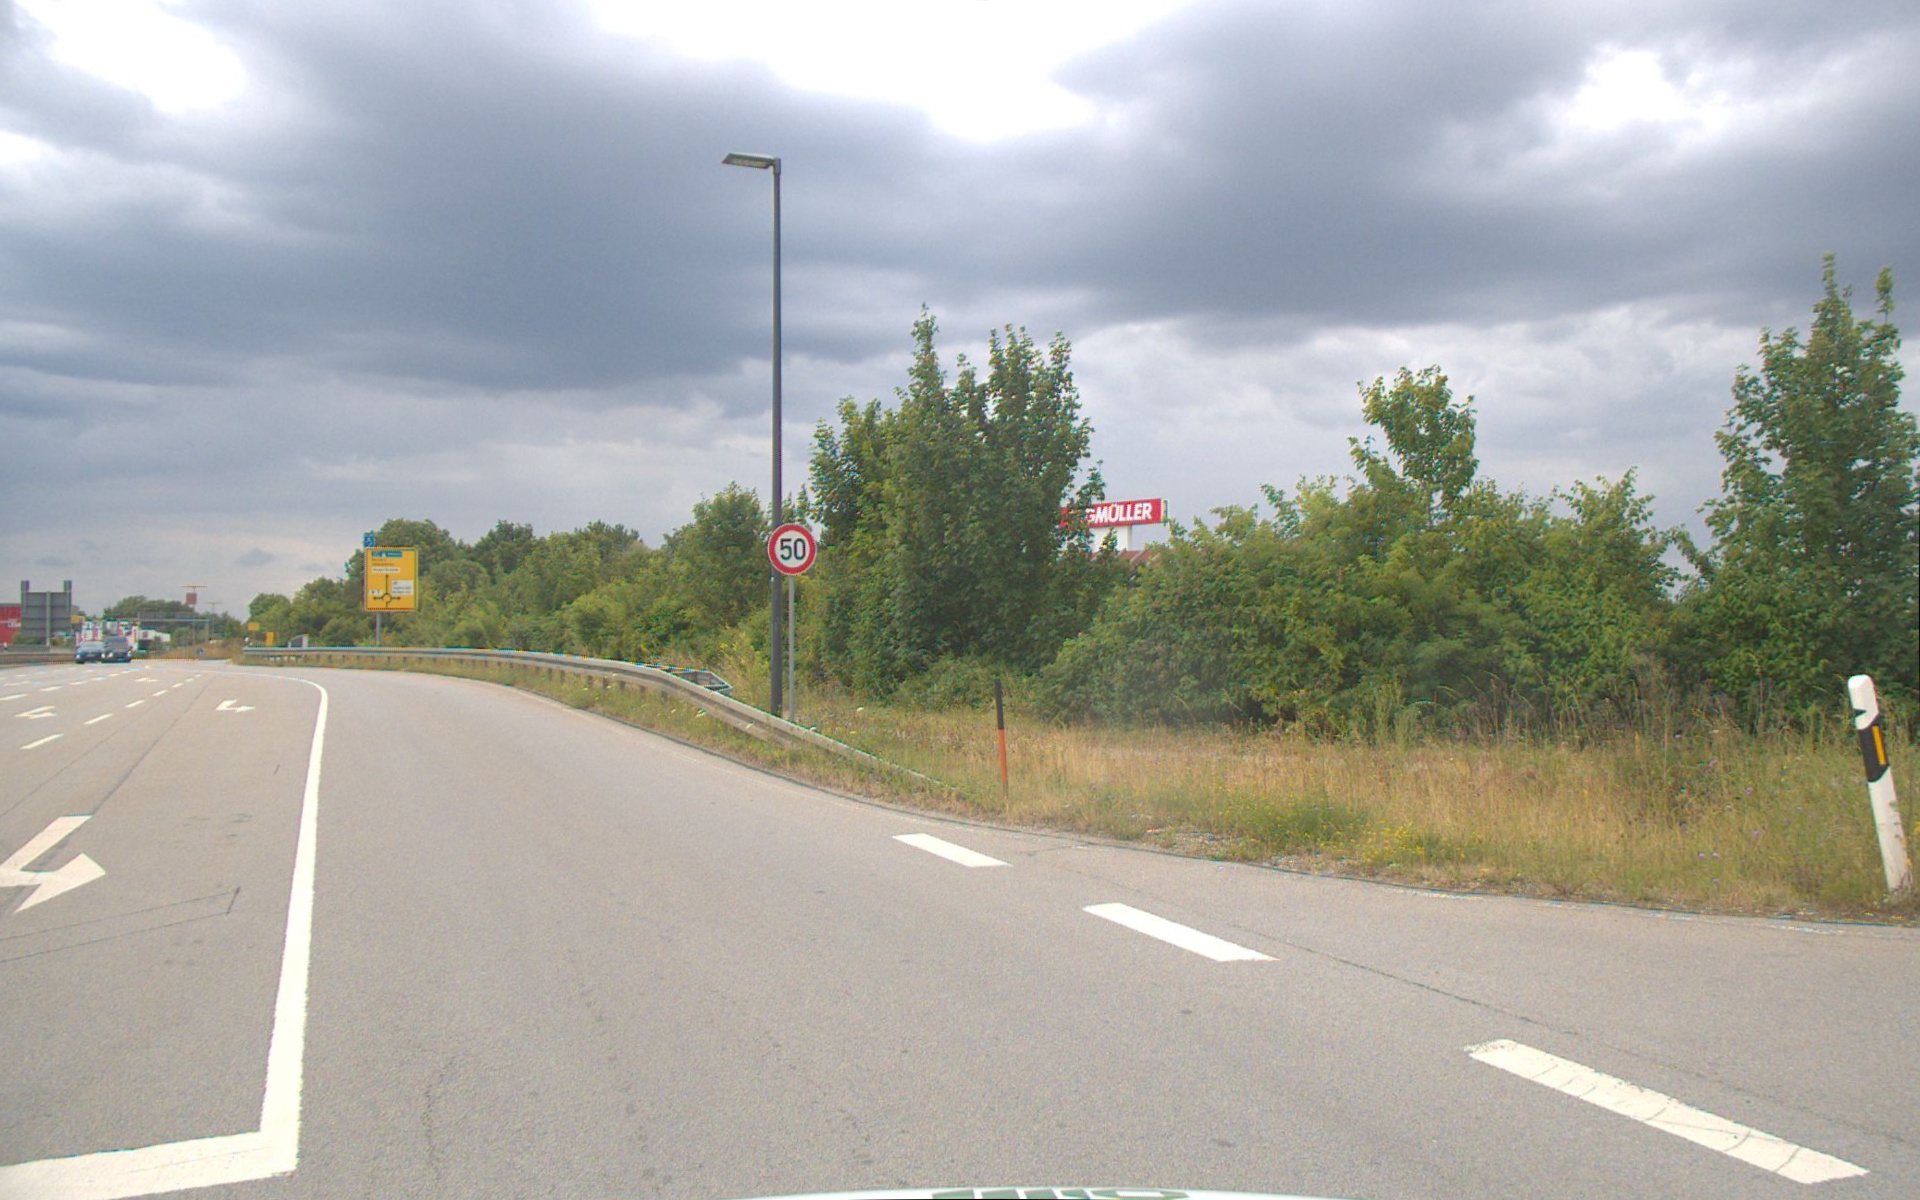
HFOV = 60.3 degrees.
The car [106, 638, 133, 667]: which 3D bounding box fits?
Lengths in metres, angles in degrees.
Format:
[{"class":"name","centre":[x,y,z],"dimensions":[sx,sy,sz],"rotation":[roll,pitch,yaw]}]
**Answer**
[{"class":"car","centre":[-78.108,4.865,153.757],"dimensions":[1.968,2.638,5.957],"rotation":[0,-2,-24]}]

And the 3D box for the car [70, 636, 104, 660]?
[{"class":"car","centre":[-58.574,3.222,111.058],"dimensions":[1.774,1.578,3.969],"rotation":[0,-1,-24]}]
